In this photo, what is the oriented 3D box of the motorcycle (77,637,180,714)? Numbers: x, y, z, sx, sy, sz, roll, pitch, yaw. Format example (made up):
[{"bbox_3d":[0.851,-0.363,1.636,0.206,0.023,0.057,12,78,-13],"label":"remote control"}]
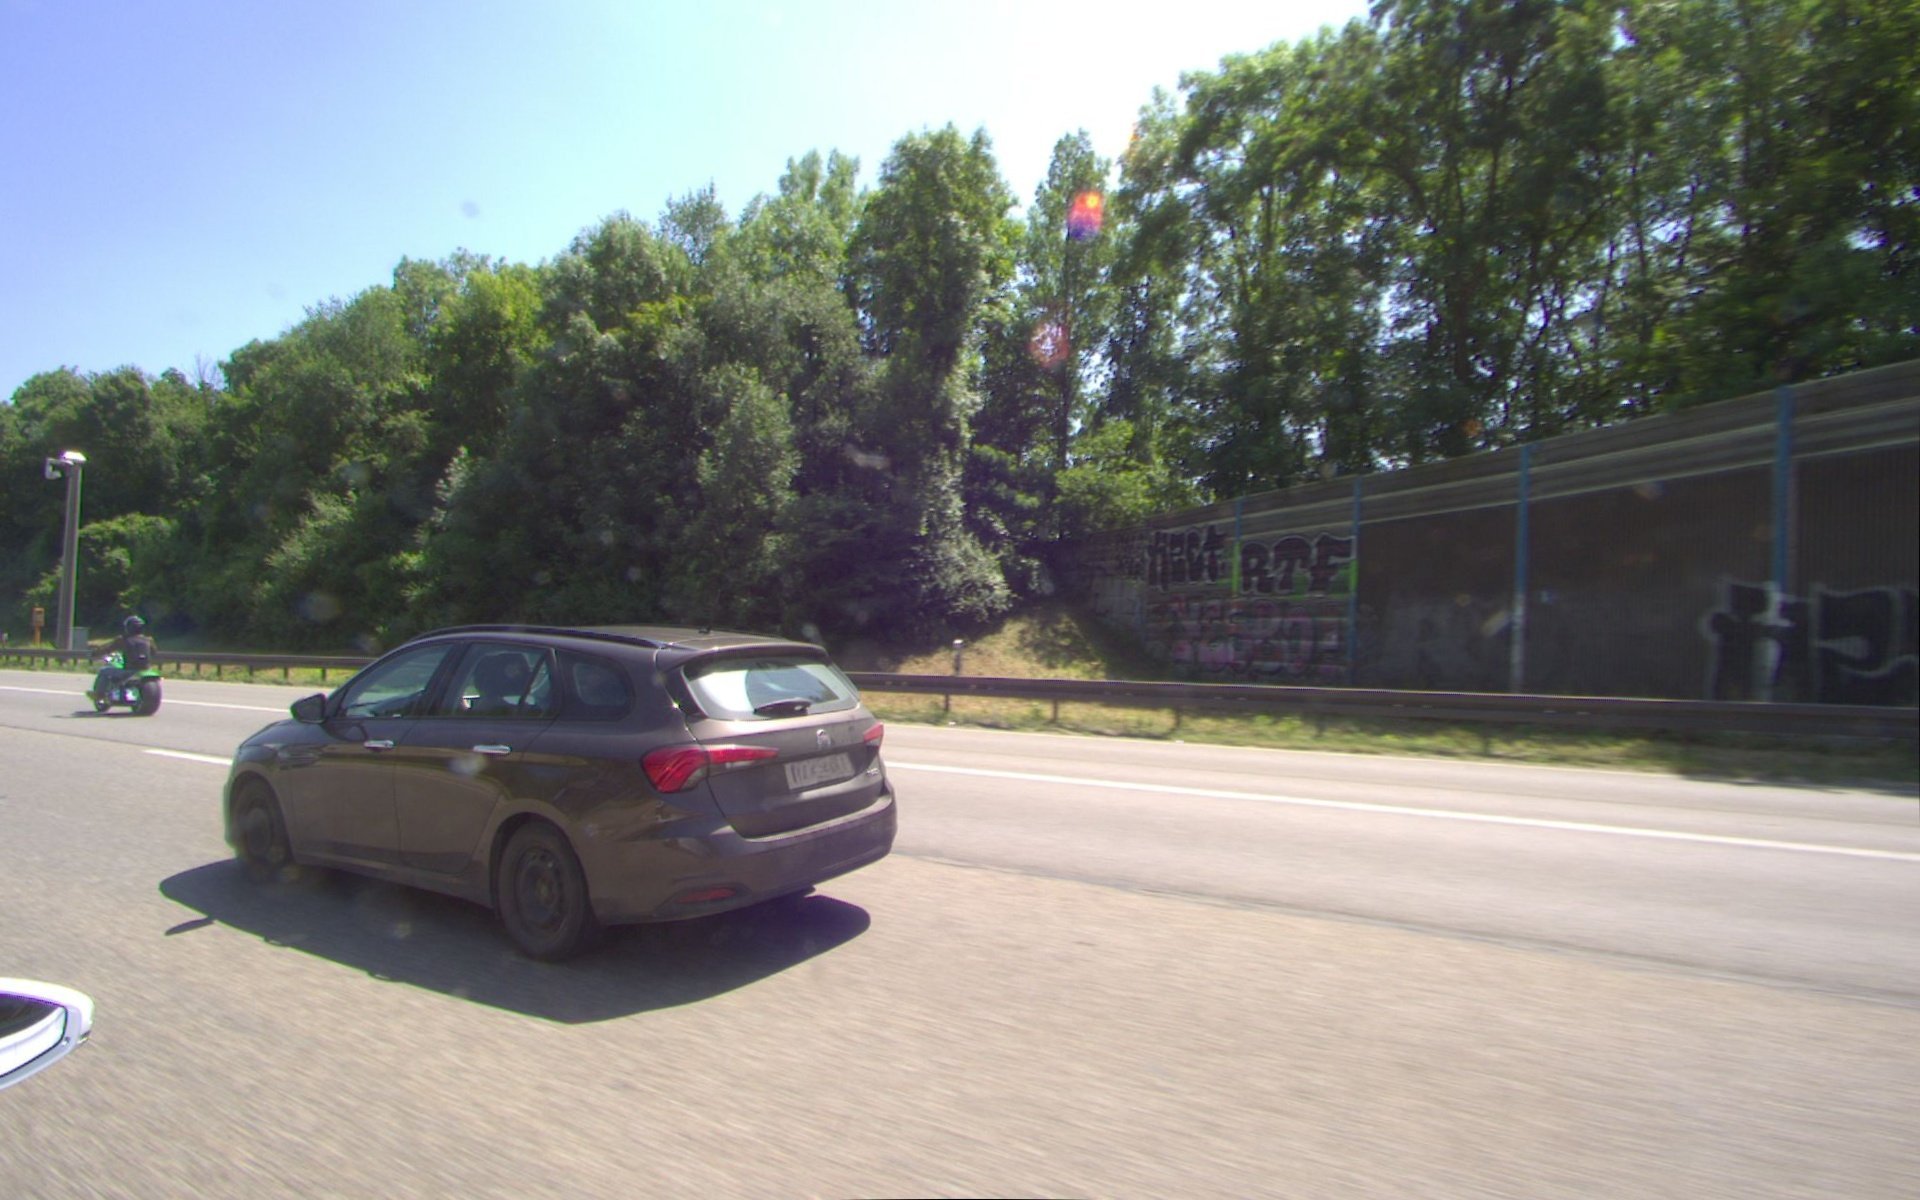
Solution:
[{"bbox_3d":[-14.410,1.269,17.332,2.247,1.197,0.857,0,-1,37],"label":"motorcycle"}]

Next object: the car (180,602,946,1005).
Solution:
[{"bbox_3d":[-2.405,0.815,5.761,4.336,1.532,1.836,0,-2,31],"label":"car"}]

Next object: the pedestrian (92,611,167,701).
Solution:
[{"bbox_3d":[-14.335,0.955,17.293,0.630,1.498,0.849,1,-1,36],"label":"pedestrian"}]
